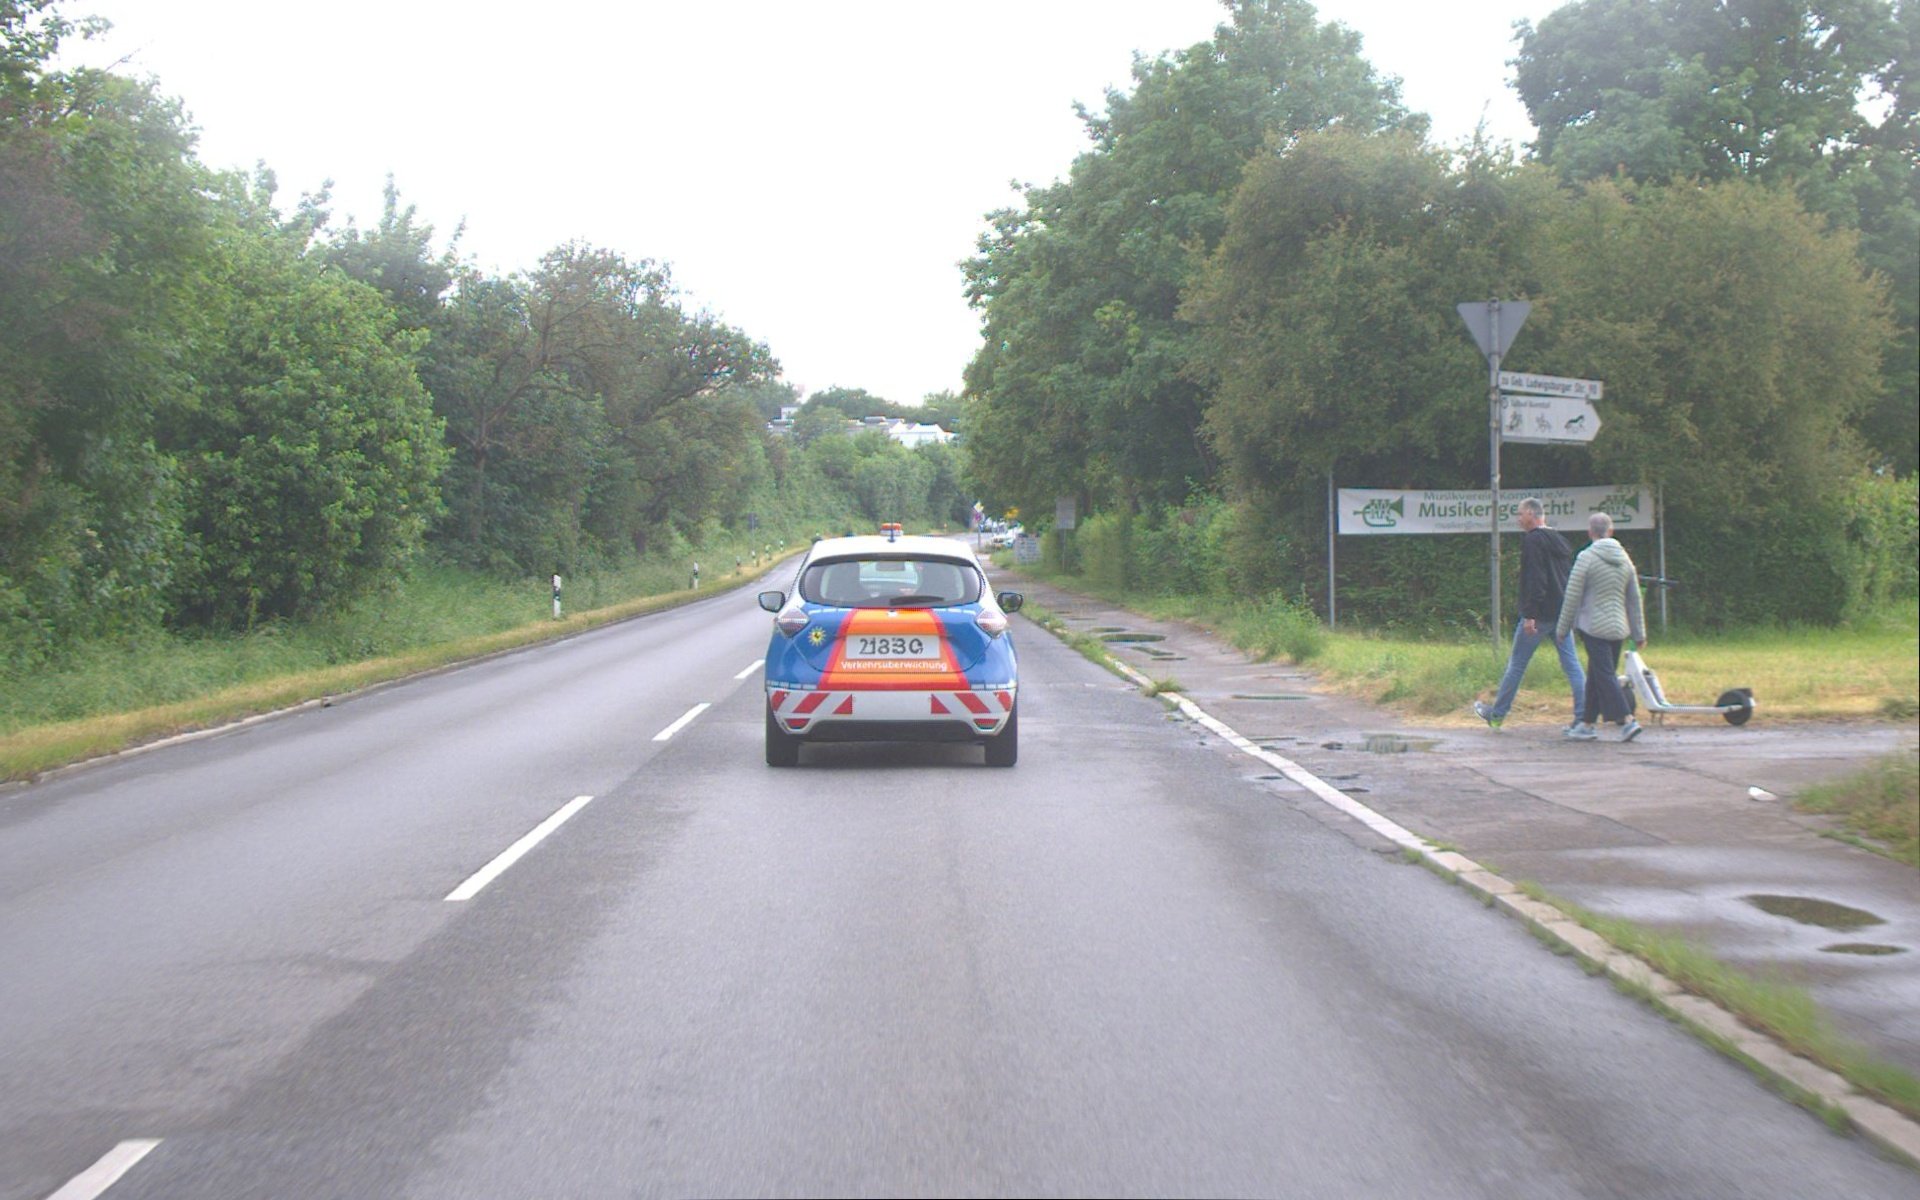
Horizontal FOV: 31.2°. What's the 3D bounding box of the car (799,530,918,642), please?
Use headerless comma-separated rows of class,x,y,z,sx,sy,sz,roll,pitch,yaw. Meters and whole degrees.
car,-1.523,-0.233,51.819,1.694,1.590,3.856,1,1,-1

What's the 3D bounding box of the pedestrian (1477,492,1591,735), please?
pedestrian,4.385,0.096,26.311,0.693,1.821,0.801,-1,1,-1

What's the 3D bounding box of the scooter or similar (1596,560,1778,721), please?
scooter or similar,5.561,0.308,26.318,1.326,1.202,0.373,0,1,40

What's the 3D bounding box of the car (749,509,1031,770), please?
car,-0.491,0.232,24.402,1.806,1.662,3.856,1,1,-1

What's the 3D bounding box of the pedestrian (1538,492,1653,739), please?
pedestrian,4.662,0.106,25.252,0.661,1.772,0.760,-1,1,-1
